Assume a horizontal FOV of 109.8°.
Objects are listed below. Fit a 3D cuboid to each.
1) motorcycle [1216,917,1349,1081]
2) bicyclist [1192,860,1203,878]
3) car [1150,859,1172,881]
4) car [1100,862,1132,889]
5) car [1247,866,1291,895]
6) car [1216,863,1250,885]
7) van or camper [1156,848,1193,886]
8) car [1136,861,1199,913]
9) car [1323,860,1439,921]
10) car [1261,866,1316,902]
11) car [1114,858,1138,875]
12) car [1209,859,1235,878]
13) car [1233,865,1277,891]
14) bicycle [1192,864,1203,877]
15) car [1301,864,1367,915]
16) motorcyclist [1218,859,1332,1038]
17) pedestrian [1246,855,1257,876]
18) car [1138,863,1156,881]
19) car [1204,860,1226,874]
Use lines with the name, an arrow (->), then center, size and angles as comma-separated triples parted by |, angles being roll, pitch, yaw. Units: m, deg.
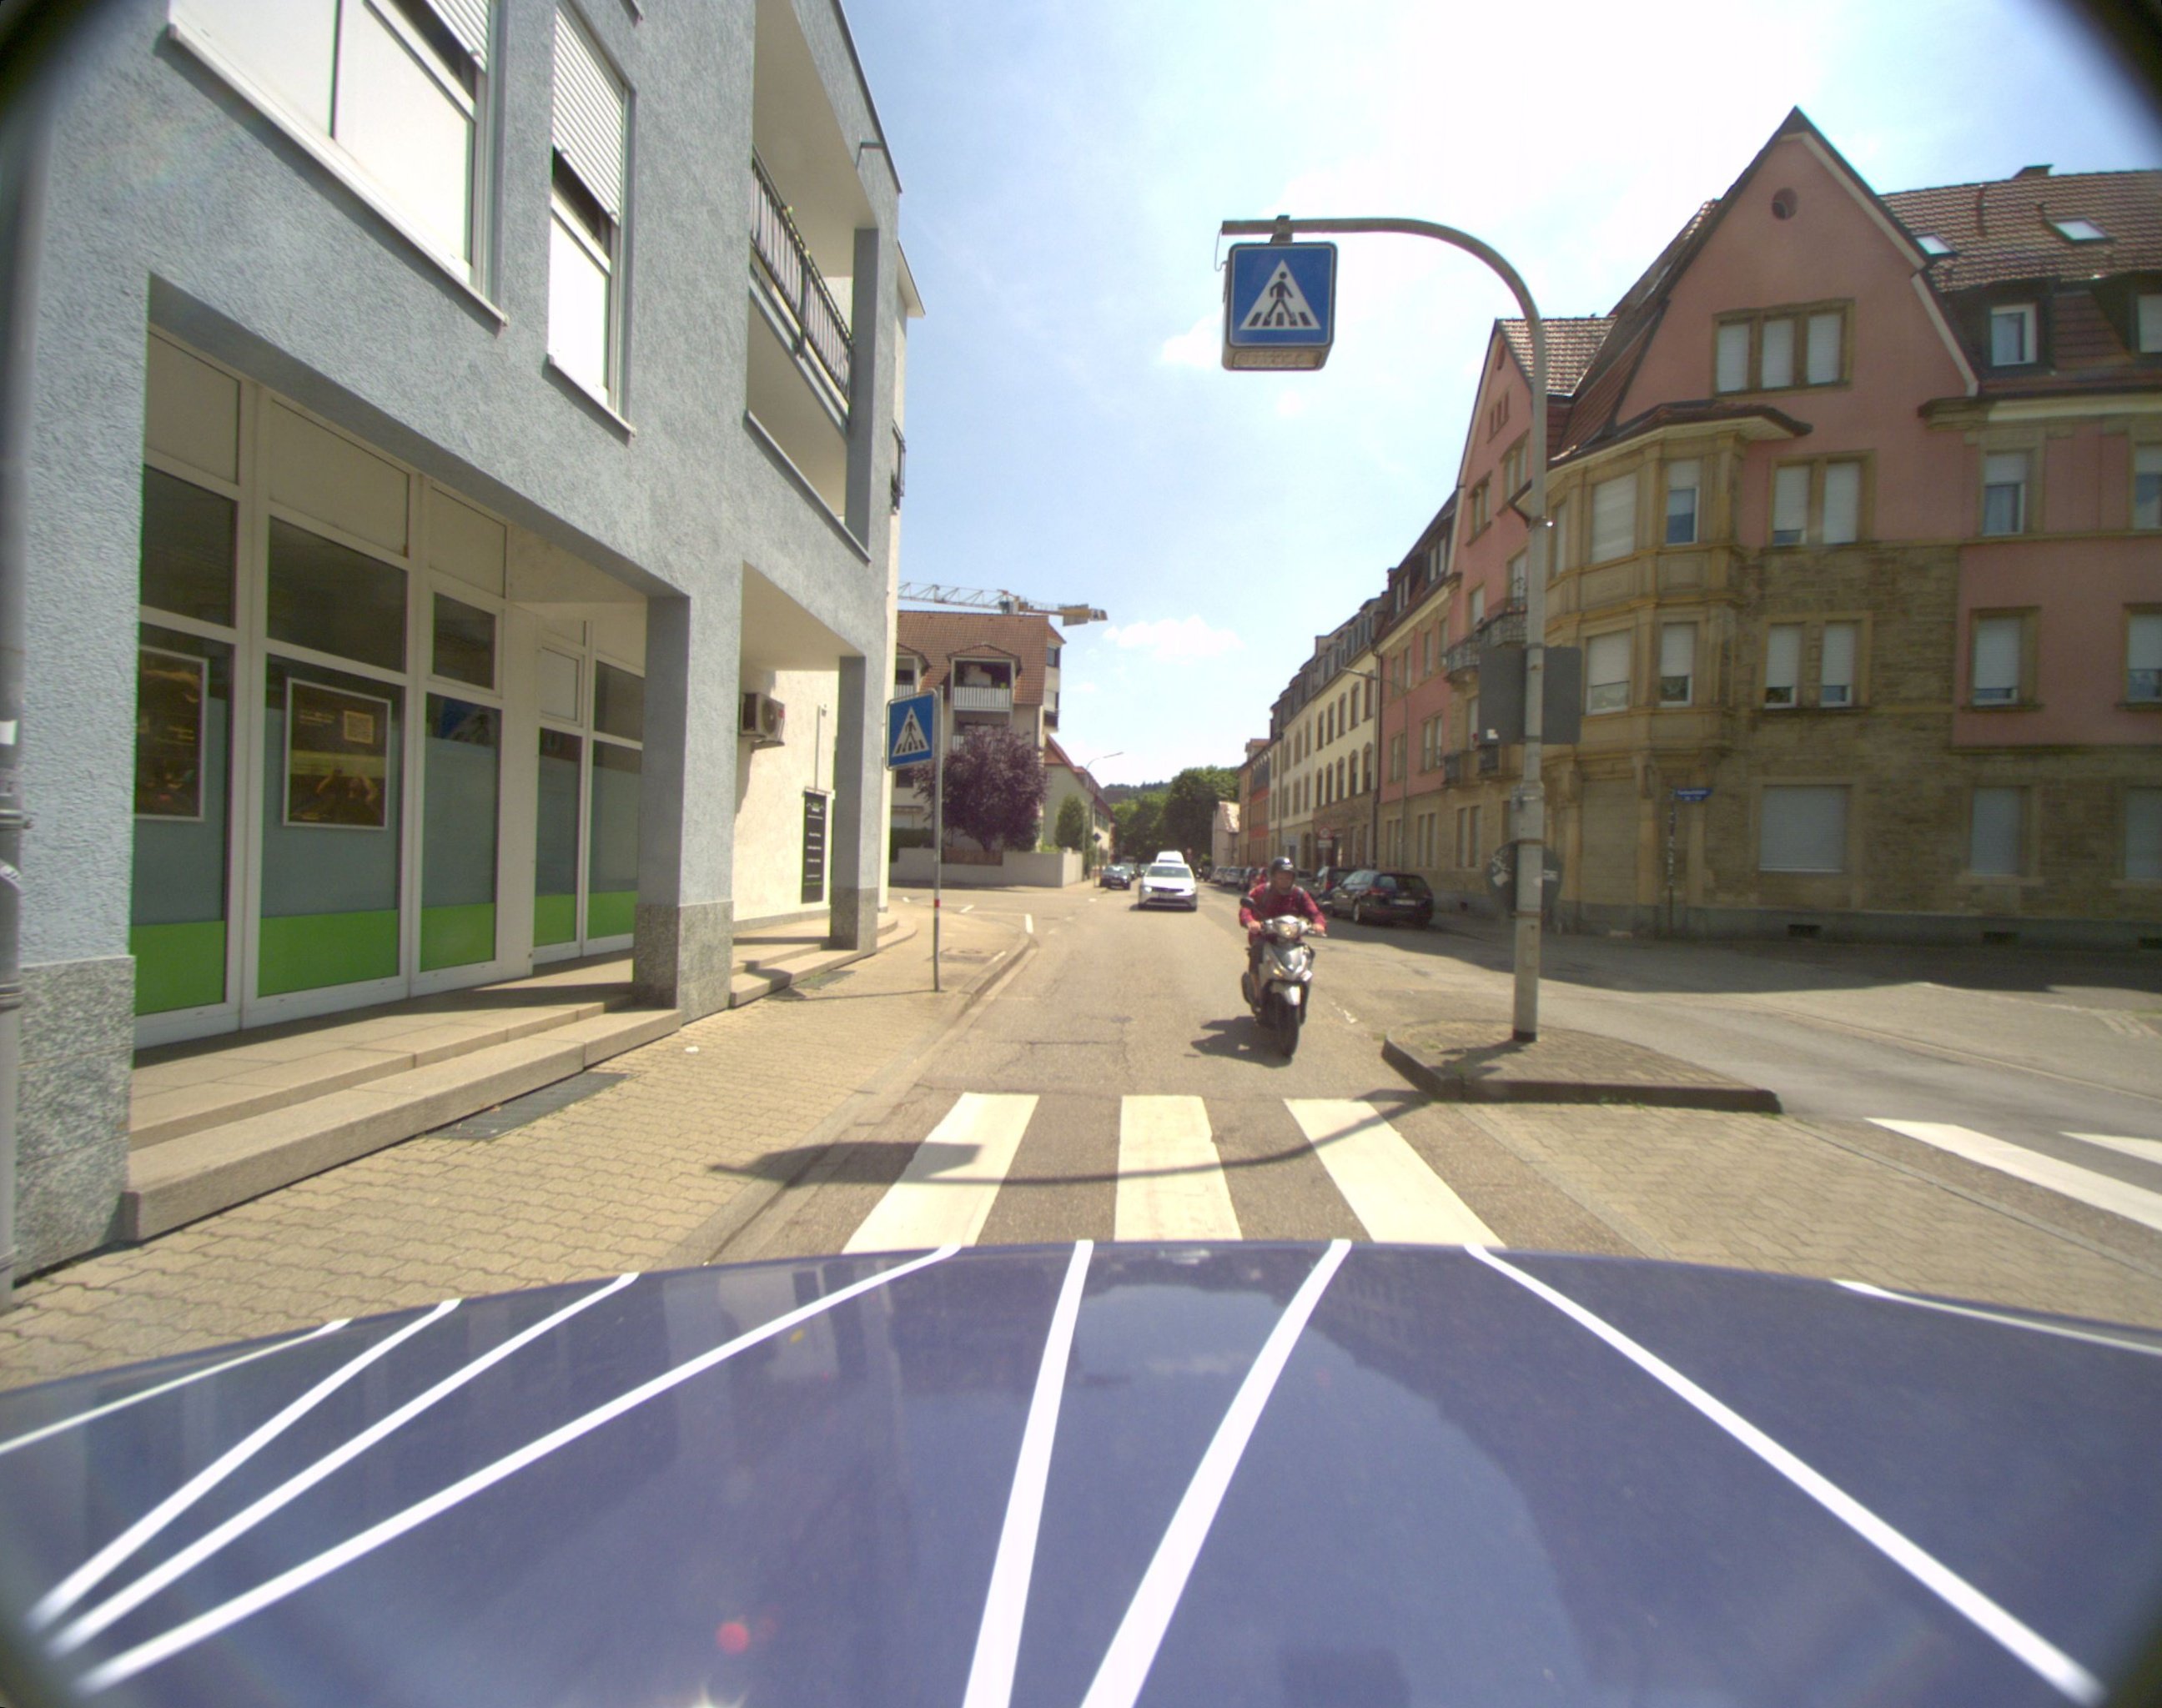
motorcycle -> 1.650, 1.145, 6.568 | 0.759, 1.049, 1.992 | 0, 0, 4
bicyclist -> 12.136, 1.564, 79.227 | 0.641, 1.752, 1.170 | 3, 1, 35
car -> 7.619, 1.512, 72.561 | 1.997, 2.002, 4.002 | -1, 0, 6
car -> 1.986, 1.187, 42.888 | 1.660, 1.368, 4.240 | 1, 0, 3
car -> 9.901, 1.370, 40.269 | 1.602, 1.433, 3.496 | 1, 0, 3
car -> 11.050, 1.445, 55.473 | 1.882, 1.501, 4.383 | 1, 0, 5
van or camper -> 5.895, 0.812, 48.382 | 1.998, 2.273, 5.146 | 1, 0, 4
car -> 2.659, 0.976, 24.154 | 1.811, 1.512, 4.001 | 0, 0, 4
car -> 8.210, 0.924, 21.228 | 1.786, 1.449, 4.636 | 1, 0, 6
car -> 9.375, 1.328, 34.595 | 1.638, 1.423, 4.020 | 2, 0, 5
car -> 4.056, 1.096, 68.227 | 1.850, 1.506, 4.003 | 1, 0, 7
car -> 11.885, 1.194, 64.272 | 1.714, 1.451, 3.855 | 2, 0, 4
car -> 10.452, 1.427, 45.899 | 1.876, 1.430, 4.220 | 1, 0, 3
bicycle -> 12.140, 1.739, 79.273 | 0.228, 1.268, 1.887 | 4, 1, 35
car -> 8.420, 1.145, 25.445 | 1.439, 1.514, 2.696 | 1, 0, 4
motorcyclist -> 1.651, 0.766, 6.623 | 0.793, 1.431, 1.021 | 0, 0, 4
pedestrian -> 14.158, 0.970, 63.086 | 0.770, 1.760, 0.764 | -1, 0, 4
car -> 7.931, 2.159, 90.898 | 1.998, 2.002, 4.002 | -1, 0, 5
car -> 13.508, 1.295, 76.566 | 1.731, 1.433, 3.858 | 1, 0, 4
